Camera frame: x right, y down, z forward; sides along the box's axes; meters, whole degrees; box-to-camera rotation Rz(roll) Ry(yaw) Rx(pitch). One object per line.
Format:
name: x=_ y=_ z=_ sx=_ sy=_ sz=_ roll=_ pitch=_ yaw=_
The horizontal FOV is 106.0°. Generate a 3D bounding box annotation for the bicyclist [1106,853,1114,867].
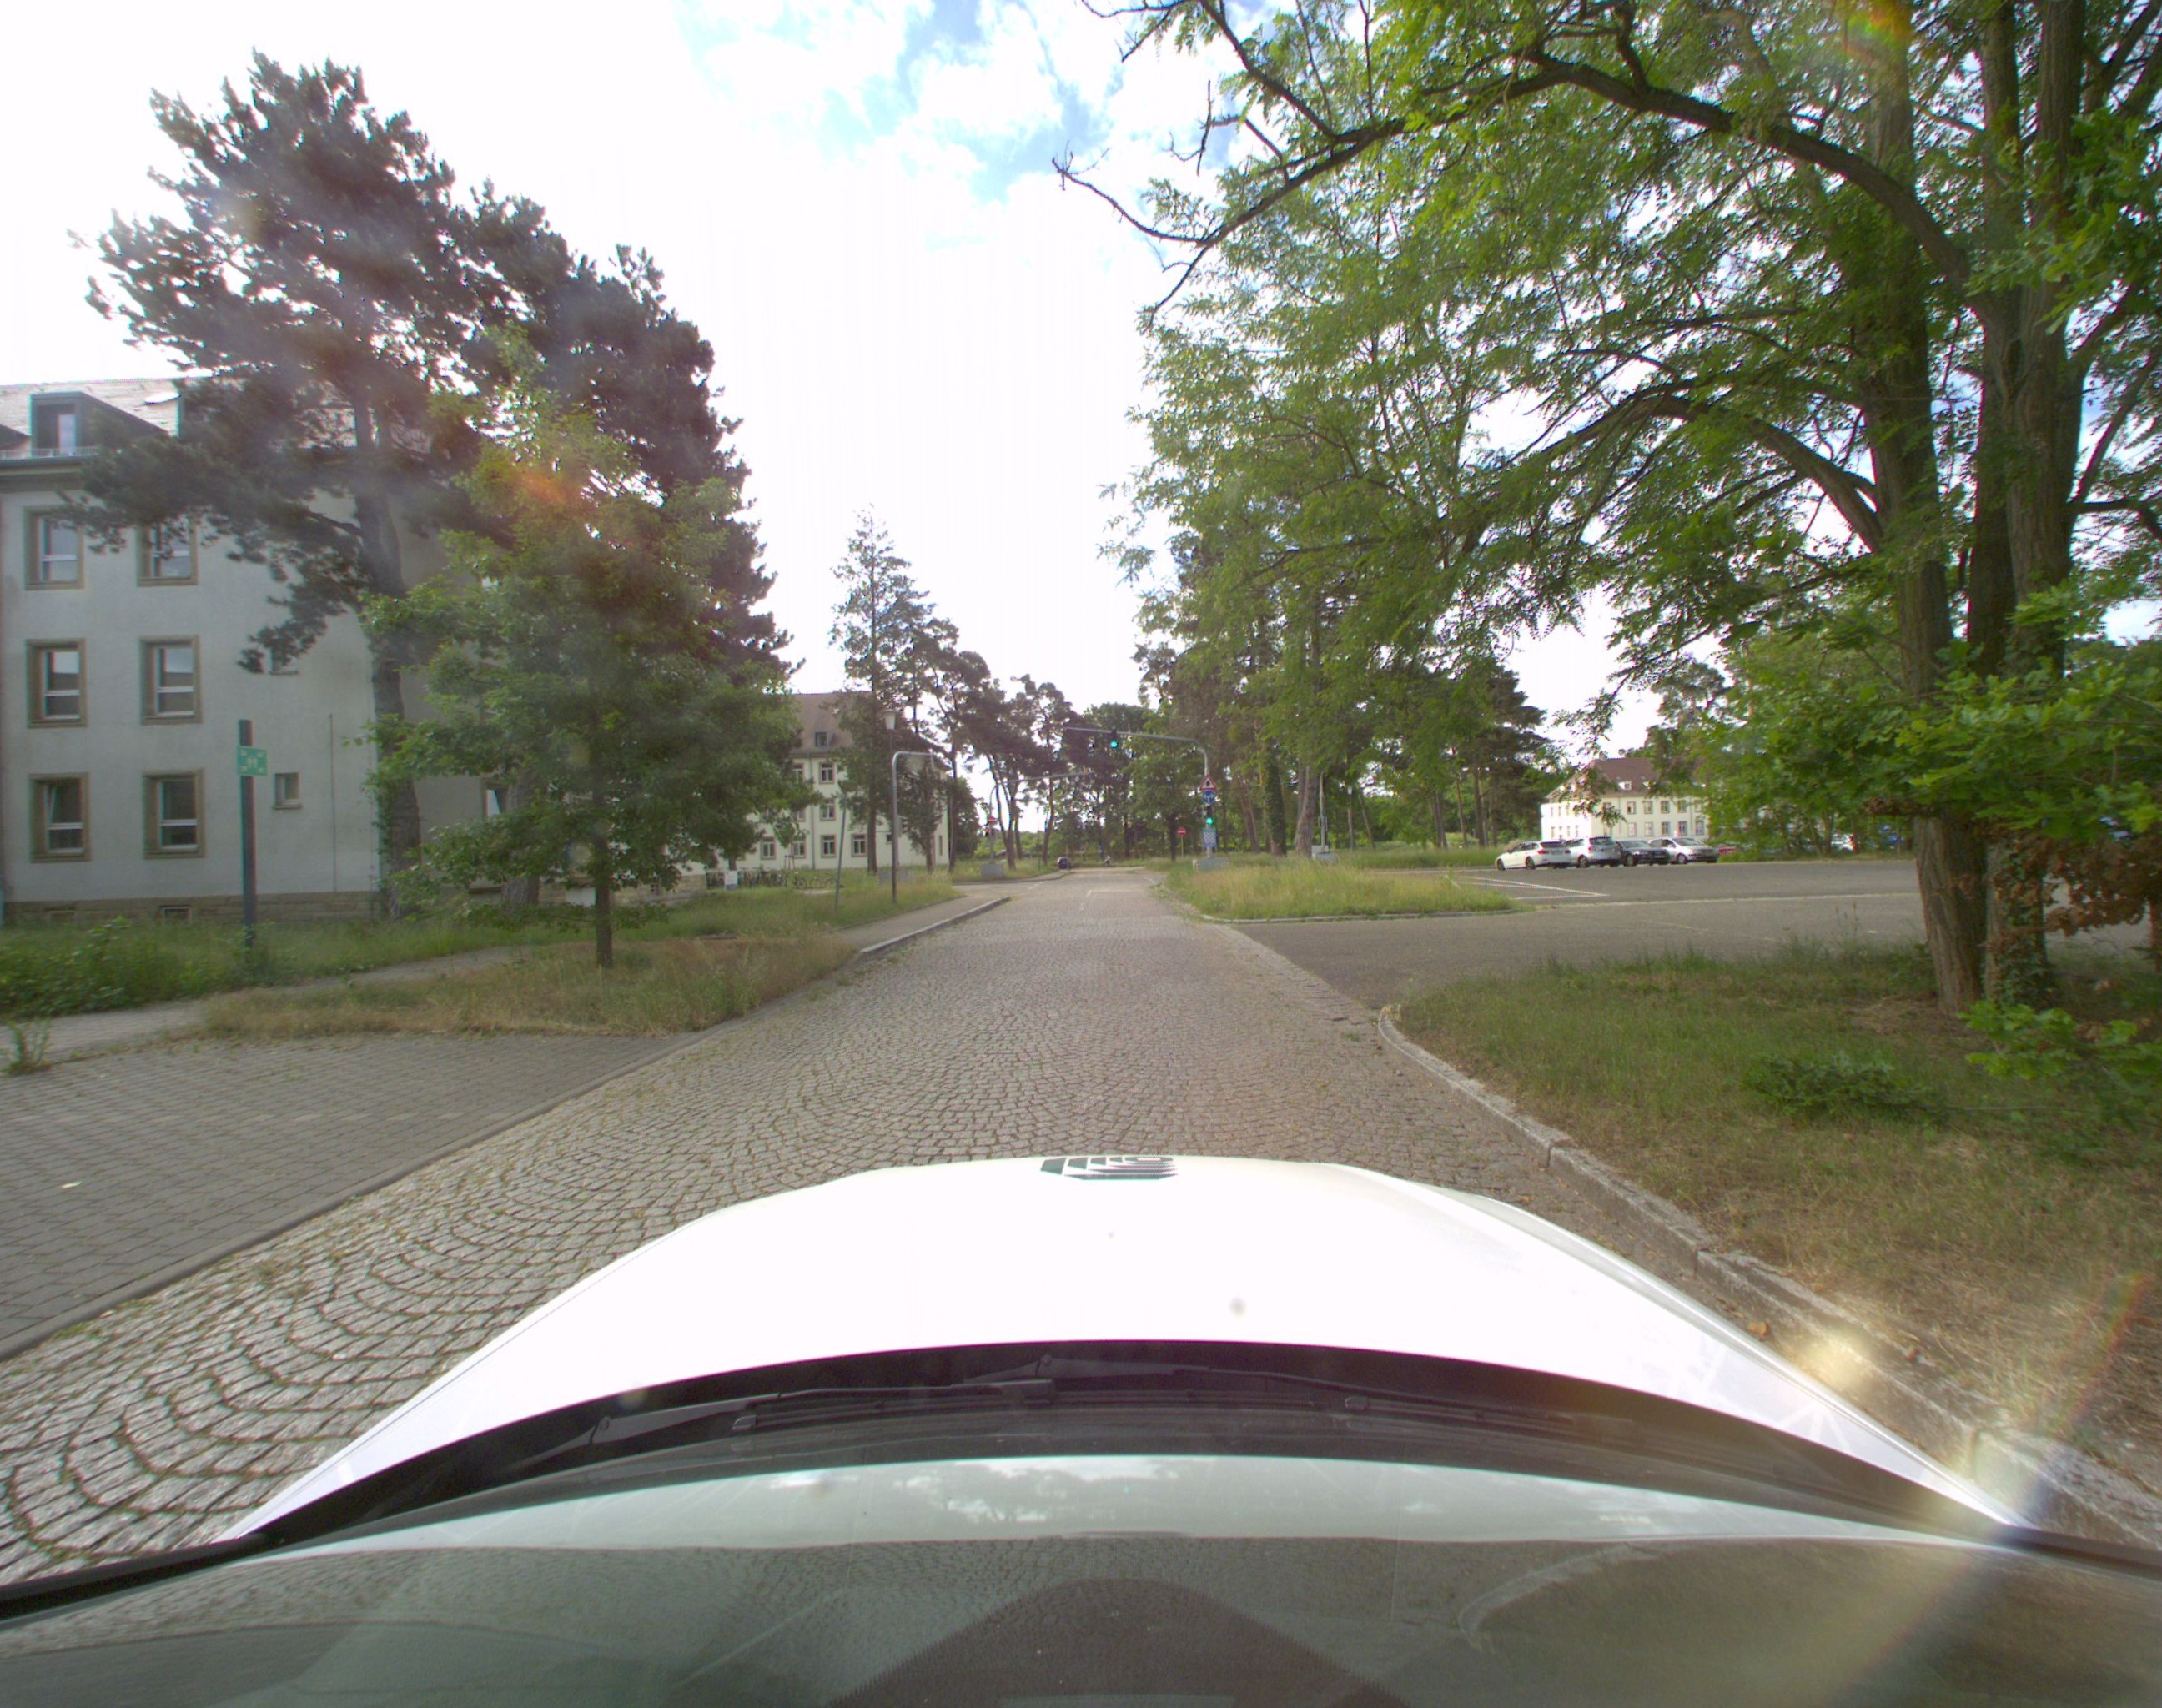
bicyclist: x=3.518 y=0.752 z=98.760 sx=0.750 sy=1.671 sz=0.523 roll=0 pitch=-1 yaw=-15

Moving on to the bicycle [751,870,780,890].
bicycle: x=-19.002 y=1.548 z=49.124 sx=0.733 sy=1.076 sz=2.274 roll=-2 pitch=0 yaw=2

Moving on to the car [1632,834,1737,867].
car: x=30.706 y=-0.129 z=41.618 sx=1.988 sy=1.523 sz=4.422 roll=-1 pitch=-2 yaw=-2

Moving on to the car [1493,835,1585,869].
car: x=22.845 y=-0.057 z=40.846 sx=1.988 sy=1.481 sz=4.422 roll=-2 pitch=-2 yaw=-2

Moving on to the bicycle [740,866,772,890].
bicycle: x=-19.736 y=1.424 z=49.497 sx=0.733 sy=1.385 sz=2.713 roll=-2 pitch=0 yaw=2

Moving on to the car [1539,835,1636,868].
car: x=25.360 y=-0.075 z=40.969 sx=1.988 sy=1.481 sz=4.422 roll=-2 pitch=-2 yaw=-2

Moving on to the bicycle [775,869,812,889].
bicycle: x=-16.919 y=1.463 z=47.906 sx=1.848 sy=1.076 sz=0.739 roll=-2 pitch=0 yaw=3

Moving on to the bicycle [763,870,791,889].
bicycle: x=-18.360 y=1.522 z=49.190 sx=0.733 sy=1.076 sz=2.274 roll=-2 pitch=0 yaw=2

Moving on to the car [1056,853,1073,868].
car: x=-2.090 y=0.845 z=104.982 sx=2.048 sy=1.846 sz=4.001 roll=-2 pitch=0 yaw=1

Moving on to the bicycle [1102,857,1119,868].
bicycle: x=3.552 y=1.086 z=98.757 sx=1.973 sy=1.320 sz=0.515 roll=0 pitch=-1 yaw=-16

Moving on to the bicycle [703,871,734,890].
bicycle: x=-21.917 y=1.594 z=49.234 sx=0.733 sy=1.076 sz=2.274 roll=-2 pitch=0 yaw=2

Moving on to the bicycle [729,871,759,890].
bicycle: x=-20.528 y=1.581 z=49.624 sx=0.733 sy=1.076 sz=2.274 roll=-2 pitch=0 yaw=2

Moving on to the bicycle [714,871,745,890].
bicycle: x=-21.189 y=1.574 z=49.145 sx=0.733 sy=1.076 sz=2.274 roll=-2 pitch=0 yaw=2

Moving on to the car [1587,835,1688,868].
car: x=28.030 y=-0.092 z=41.202 sx=1.988 sy=1.481 sz=4.422 roll=-2 pitch=-2 yaw=-2

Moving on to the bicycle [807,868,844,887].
bicycle: x=-15.037 y=1.382 z=47.902 sx=1.848 sy=1.076 sz=0.832 roll=-2 pitch=0 yaw=3

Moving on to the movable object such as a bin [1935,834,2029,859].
movable object such as a bin: x=31.250 y=-0.254 z=28.293 sx=1.179 sy=0.825 sz=1.957 roll=-2 pitch=0 yaw=6
